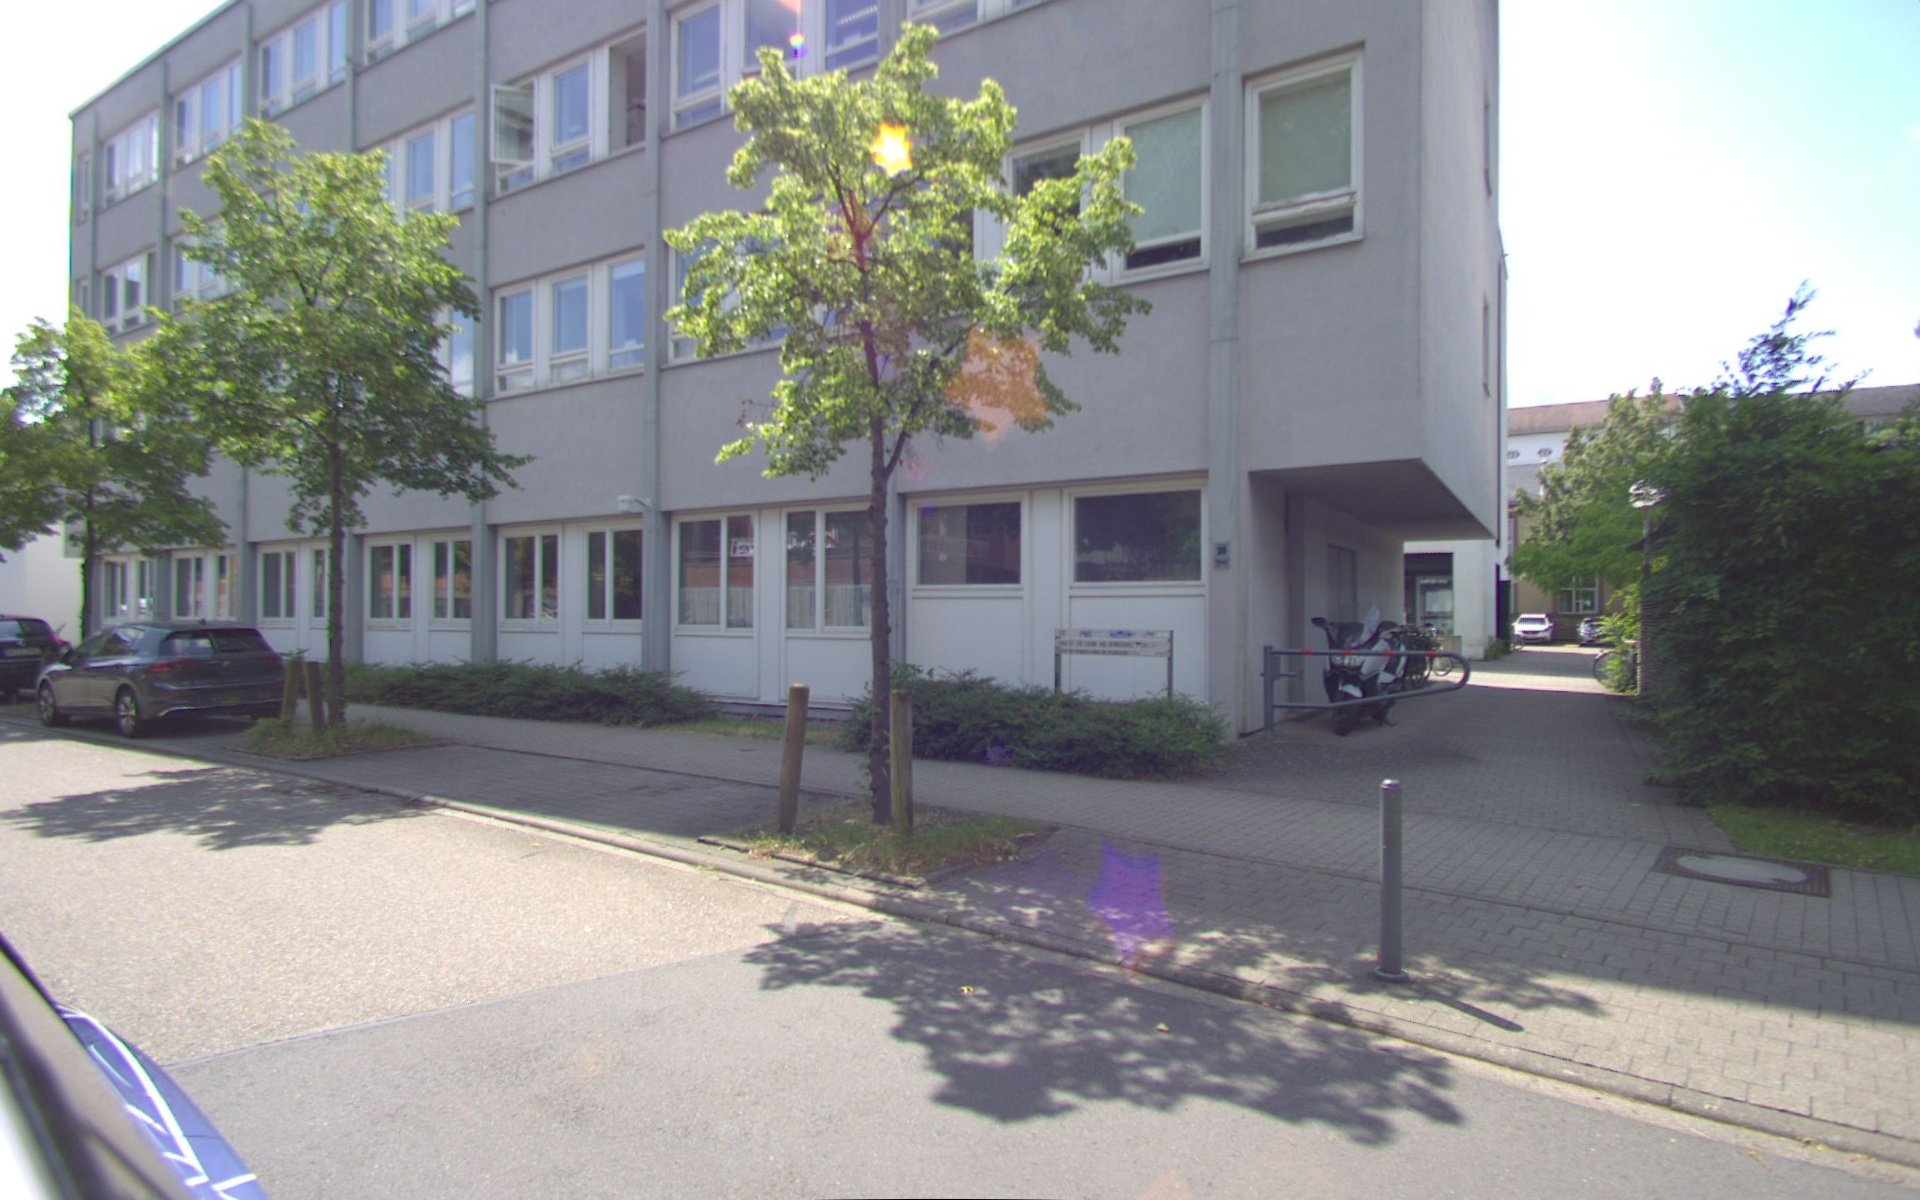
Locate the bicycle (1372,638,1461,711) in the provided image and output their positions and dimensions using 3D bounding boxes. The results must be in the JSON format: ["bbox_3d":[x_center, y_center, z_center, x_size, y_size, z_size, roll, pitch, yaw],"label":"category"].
[{"bbox_3d":[7.602,1.203,16.819,2.018,1.130,0.523,1,-2,-40],"label":"bicycle"}]

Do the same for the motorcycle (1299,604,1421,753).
[{"bbox_3d":[4.695,0.842,11.778,1.077,1.562,2.082,-1,-1,28],"label":"motorcycle"}]

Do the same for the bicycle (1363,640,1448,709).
[{"bbox_3d":[7.840,1.281,17.774,1.863,1.130,0.583,1,-2,-39],"label":"bicycle"}]

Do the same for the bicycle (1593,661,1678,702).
[{"bbox_3d":[13.113,1.574,19.662,1.336,0.716,0.440,-1,-2,41],"label":"bicycle"}]

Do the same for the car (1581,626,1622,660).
[{"bbox_3d":[31.599,2.079,49.807,1.624,1.544,3.954,-1,-1,34],"label":"car"}]

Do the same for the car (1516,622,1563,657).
[{"bbox_3d":[29.516,1.986,51.480,1.813,1.702,3.954,-1,-1,34],"label":"car"}]

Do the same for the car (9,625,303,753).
[{"bbox_3d":[-11.118,1.107,13.939,4.242,1.472,1.765,-1,0,30],"label":"car"}]

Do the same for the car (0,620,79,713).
[{"bbox_3d":[-17.854,1.153,18.307,4.052,1.576,1.685,-1,-1,30],"label":"car"}]
